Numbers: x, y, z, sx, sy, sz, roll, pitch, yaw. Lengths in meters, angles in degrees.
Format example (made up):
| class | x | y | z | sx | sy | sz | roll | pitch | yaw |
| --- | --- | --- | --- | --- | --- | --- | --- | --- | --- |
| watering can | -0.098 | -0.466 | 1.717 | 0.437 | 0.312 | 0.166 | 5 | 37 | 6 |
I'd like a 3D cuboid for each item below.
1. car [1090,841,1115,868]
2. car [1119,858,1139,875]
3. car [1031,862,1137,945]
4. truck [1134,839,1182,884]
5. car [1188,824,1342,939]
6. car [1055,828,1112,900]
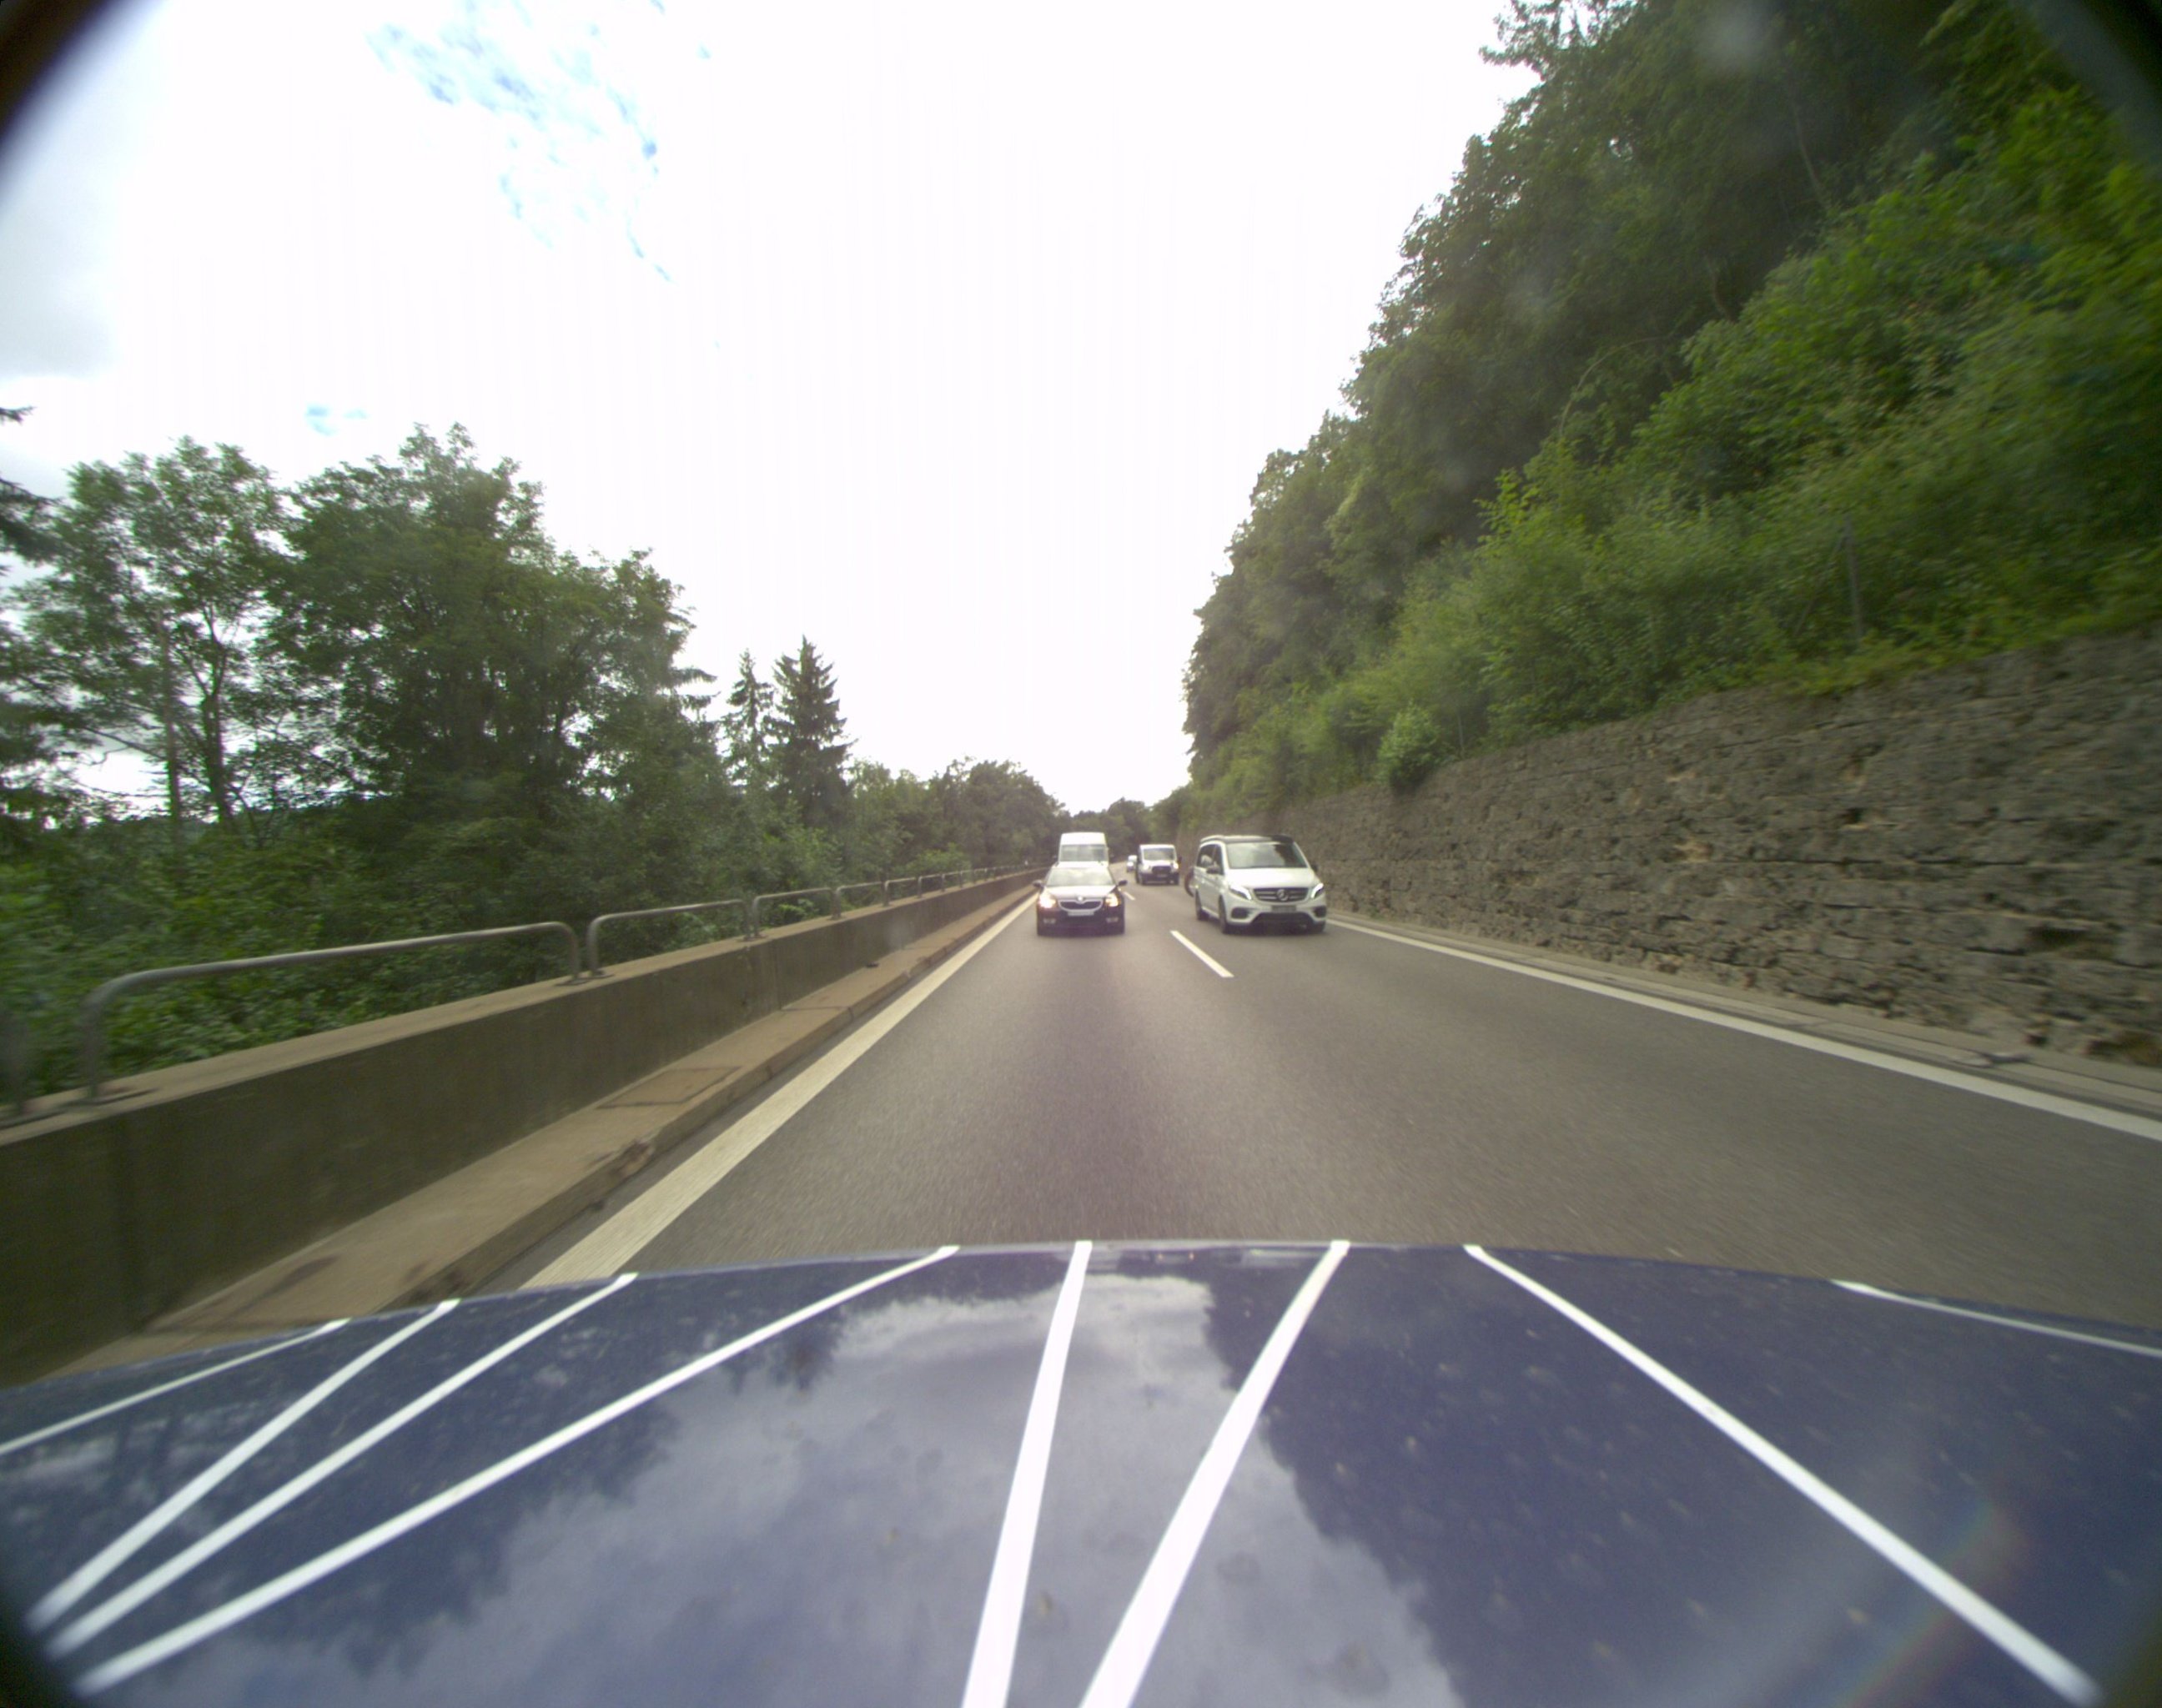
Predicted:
| class | x | y | z | sx | sy | sz | roll | pitch | yaw |
| --- | --- | --- | --- | --- | --- | --- | --- | --- | --- |
| car | 2.547 | -0.008 | 88.907 | 2.276 | 2.941 | 7.188 | -1 | 1 | 6 |
| car | 4.767 | 1.193 | 76.258 | 1.711 | 1.568 | 4.602 | -3 | 0 | 0 |
| car | -0.009 | 0.965 | 17.143 | 1.913 | 1.391 | 5.695 | -3 | 0 | -2 |
| truck | 4.228 | 0.370 | 42.729 | 1.998 | 2.266 | 6.586 | -3 | 0 | 1 |
| car | 3.680 | 0.486 | 16.491 | 1.998 | 1.941 | 6.148 | -3 | 0 | 2 |
| car | 0.211 | 0.327 | 30.320 | 1.998 | 2.550 | 5.918 | -1 | 1 | 2 |
